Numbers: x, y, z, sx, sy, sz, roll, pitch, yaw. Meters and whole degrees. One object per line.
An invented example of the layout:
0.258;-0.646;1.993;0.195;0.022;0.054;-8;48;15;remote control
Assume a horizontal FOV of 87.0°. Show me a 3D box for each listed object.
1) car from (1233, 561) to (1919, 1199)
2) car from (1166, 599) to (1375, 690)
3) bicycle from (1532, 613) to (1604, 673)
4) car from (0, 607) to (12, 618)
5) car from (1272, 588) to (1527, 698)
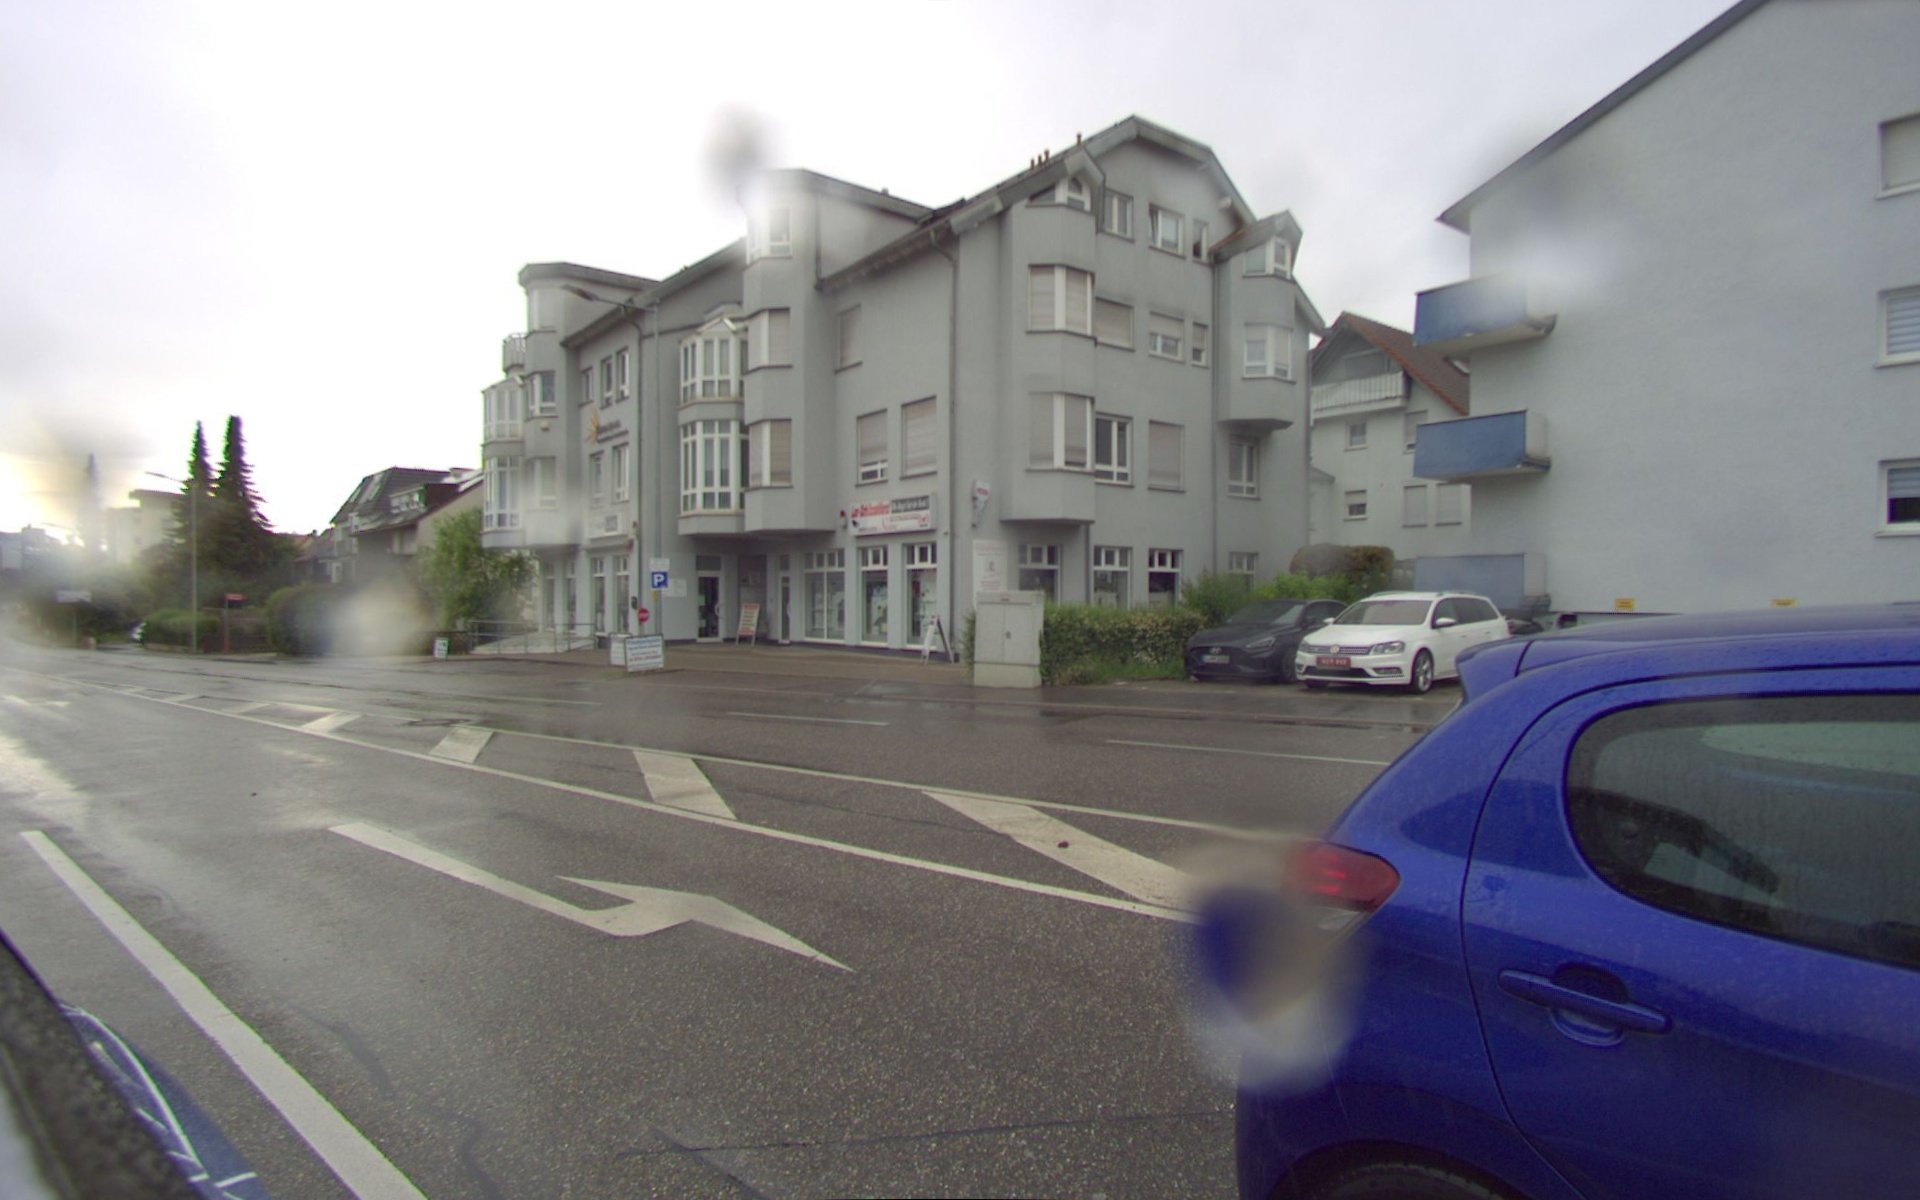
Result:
2.235;0.637;1.203;3.362;1.423;1.489;-2;-1;41;car
5.492;0.686;17.656;1.851;1.366;3.941;-1;0;45;car
11.142;0.789;18.568;1.065;1.061;0.343;-2;-1;41;bicycle
-165.783;2.136;175.324;4.001;1.798;1.972;-1;0;43;car
6.980;0.601;15.811;4.685;1.471;1.883;0;-2;-42;car
